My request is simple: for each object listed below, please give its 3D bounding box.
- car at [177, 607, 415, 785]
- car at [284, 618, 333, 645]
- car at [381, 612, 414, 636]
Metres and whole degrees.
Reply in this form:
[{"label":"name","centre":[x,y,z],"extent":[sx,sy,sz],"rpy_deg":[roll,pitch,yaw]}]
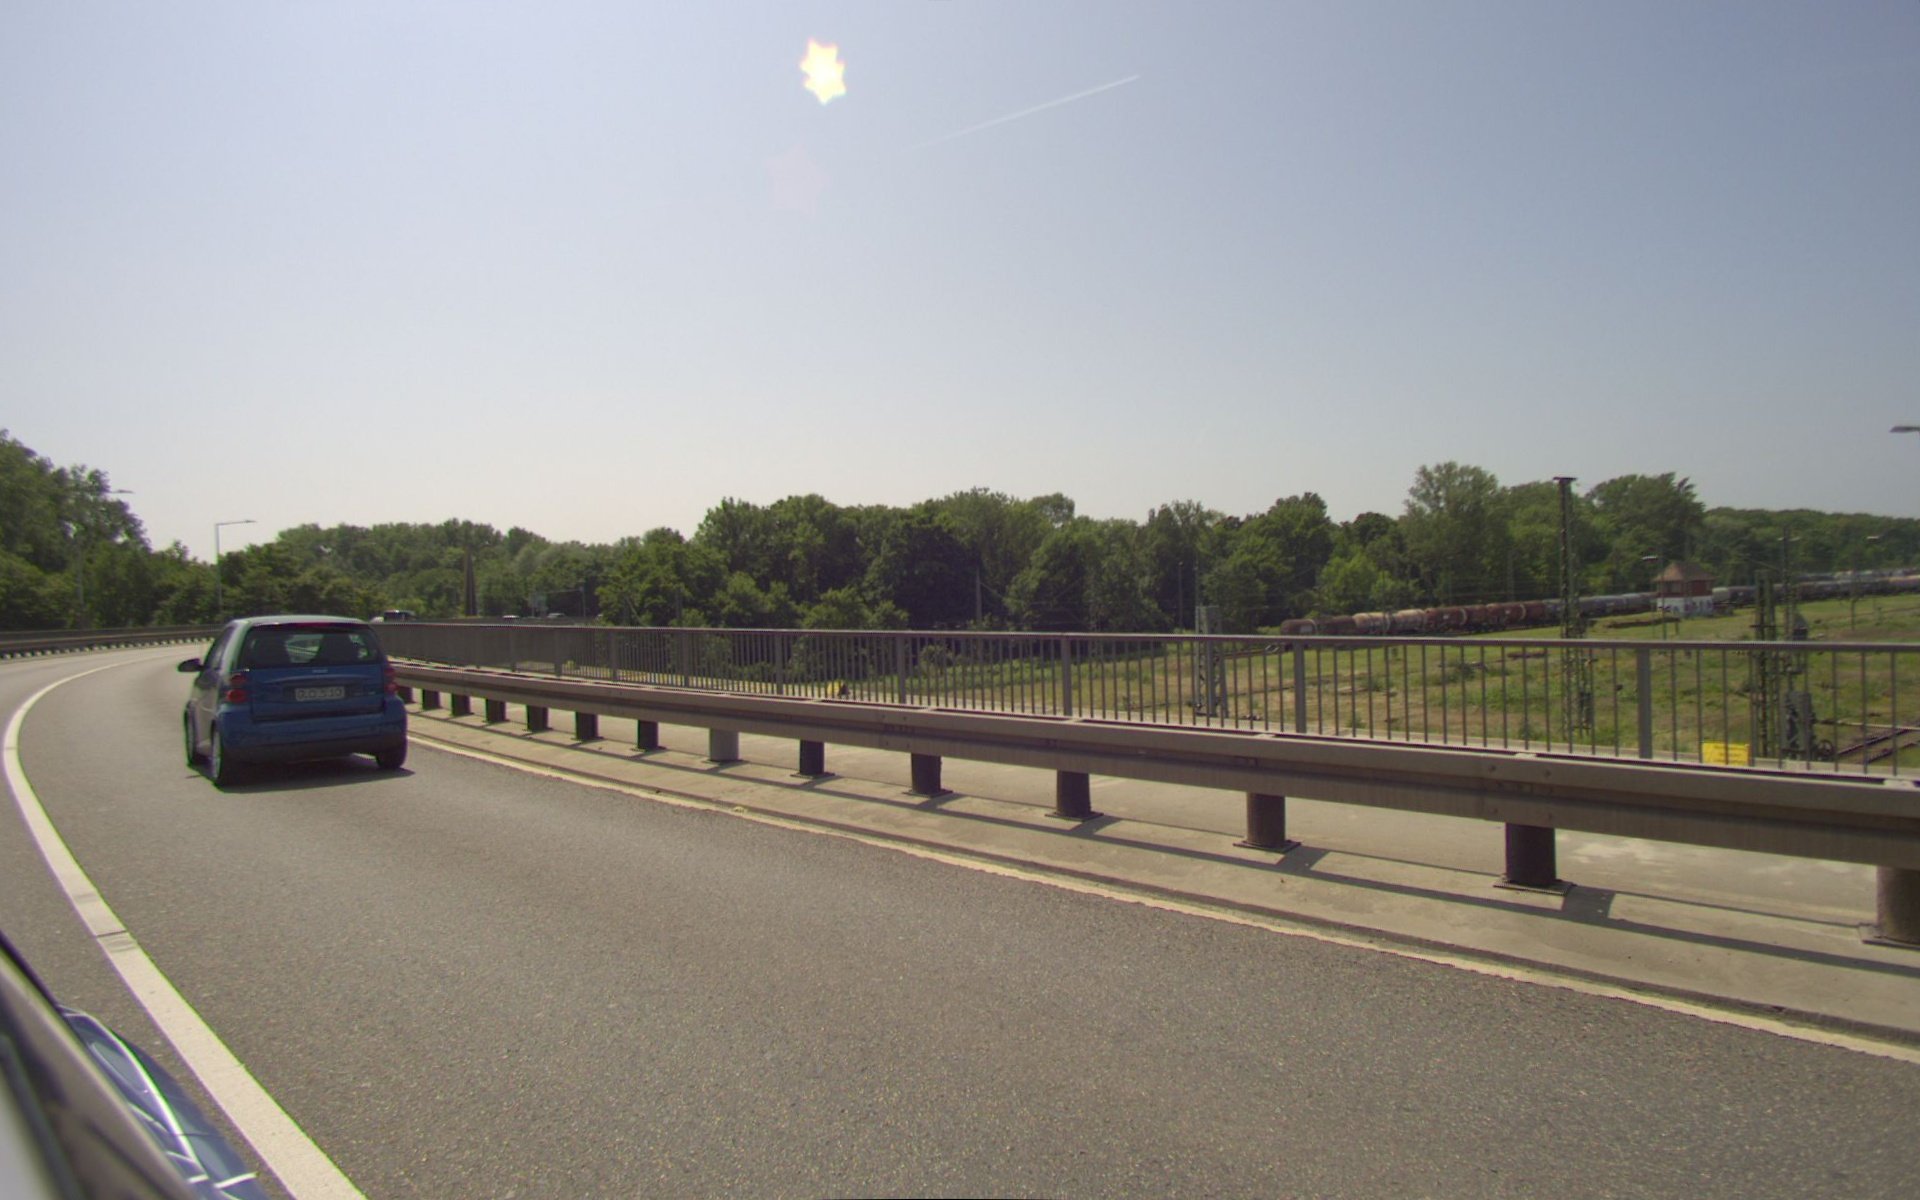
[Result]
[{"label":"car","centre":[-6.772,0.871,10.239],"extent":[1.578,1.497,2.751],"rpy_deg":[-1,-1,-43]},{"label":"car","centre":[-42.692,2.050,66.404],"extent":[1.866,1.608,4.501],"rpy_deg":[-1,-1,-23]},{"label":"car","centre":[-49.356,2.067,88.889],"extent":[1.978,1.973,5.288],"rpy_deg":[0,0,-22]}]
